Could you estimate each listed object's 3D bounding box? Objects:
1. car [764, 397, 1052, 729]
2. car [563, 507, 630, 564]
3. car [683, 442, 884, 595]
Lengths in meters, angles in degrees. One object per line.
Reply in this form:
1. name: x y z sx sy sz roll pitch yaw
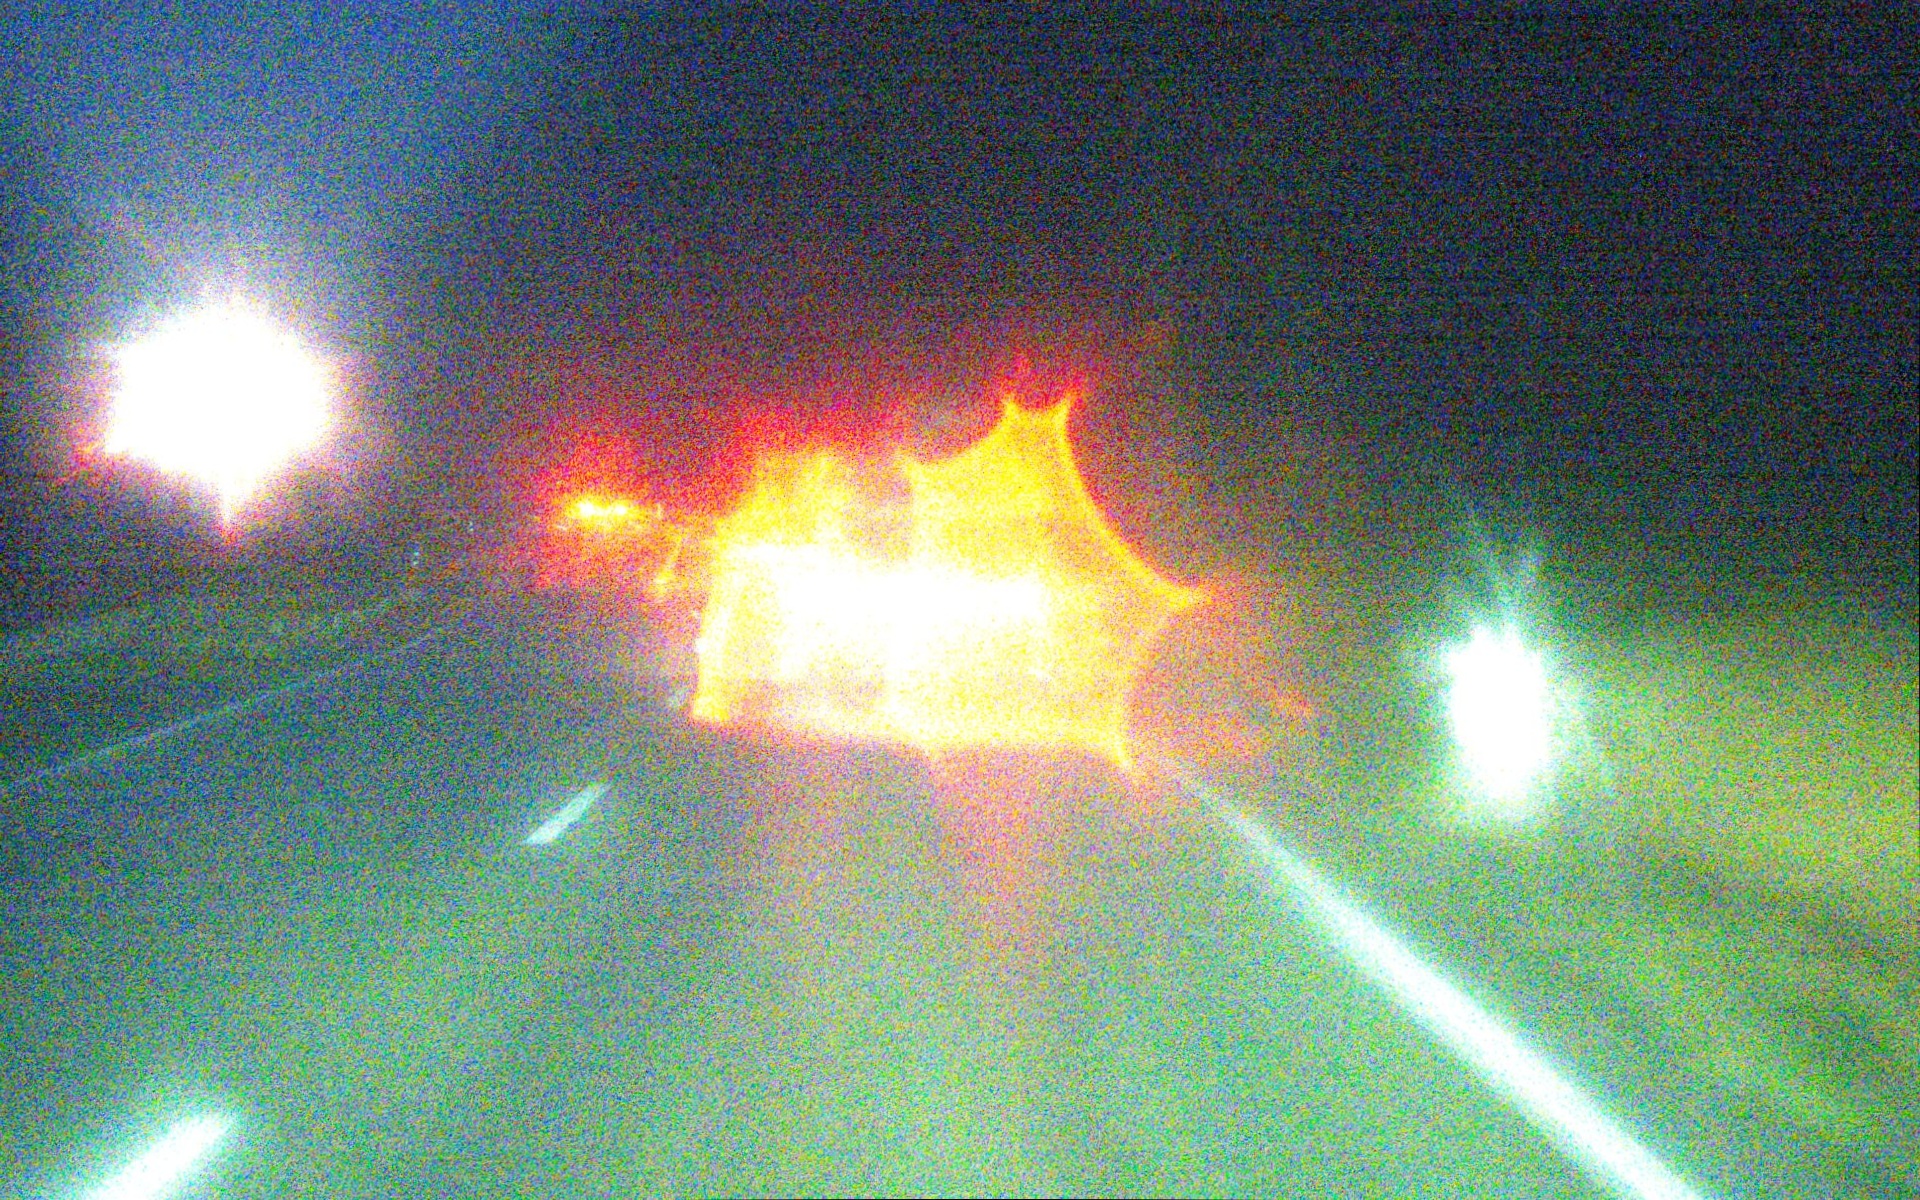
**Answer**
1. car: -0.435 -0.407 29.704 2.181 2.548 4.508 3 3 -1
2. car: -13.533 -2.413 128.117 1.993 2.007 4.000 -3 1 0
3. car: -3.242 -1.626 65.379 3.381 2.548 7.337 3 3 -1
